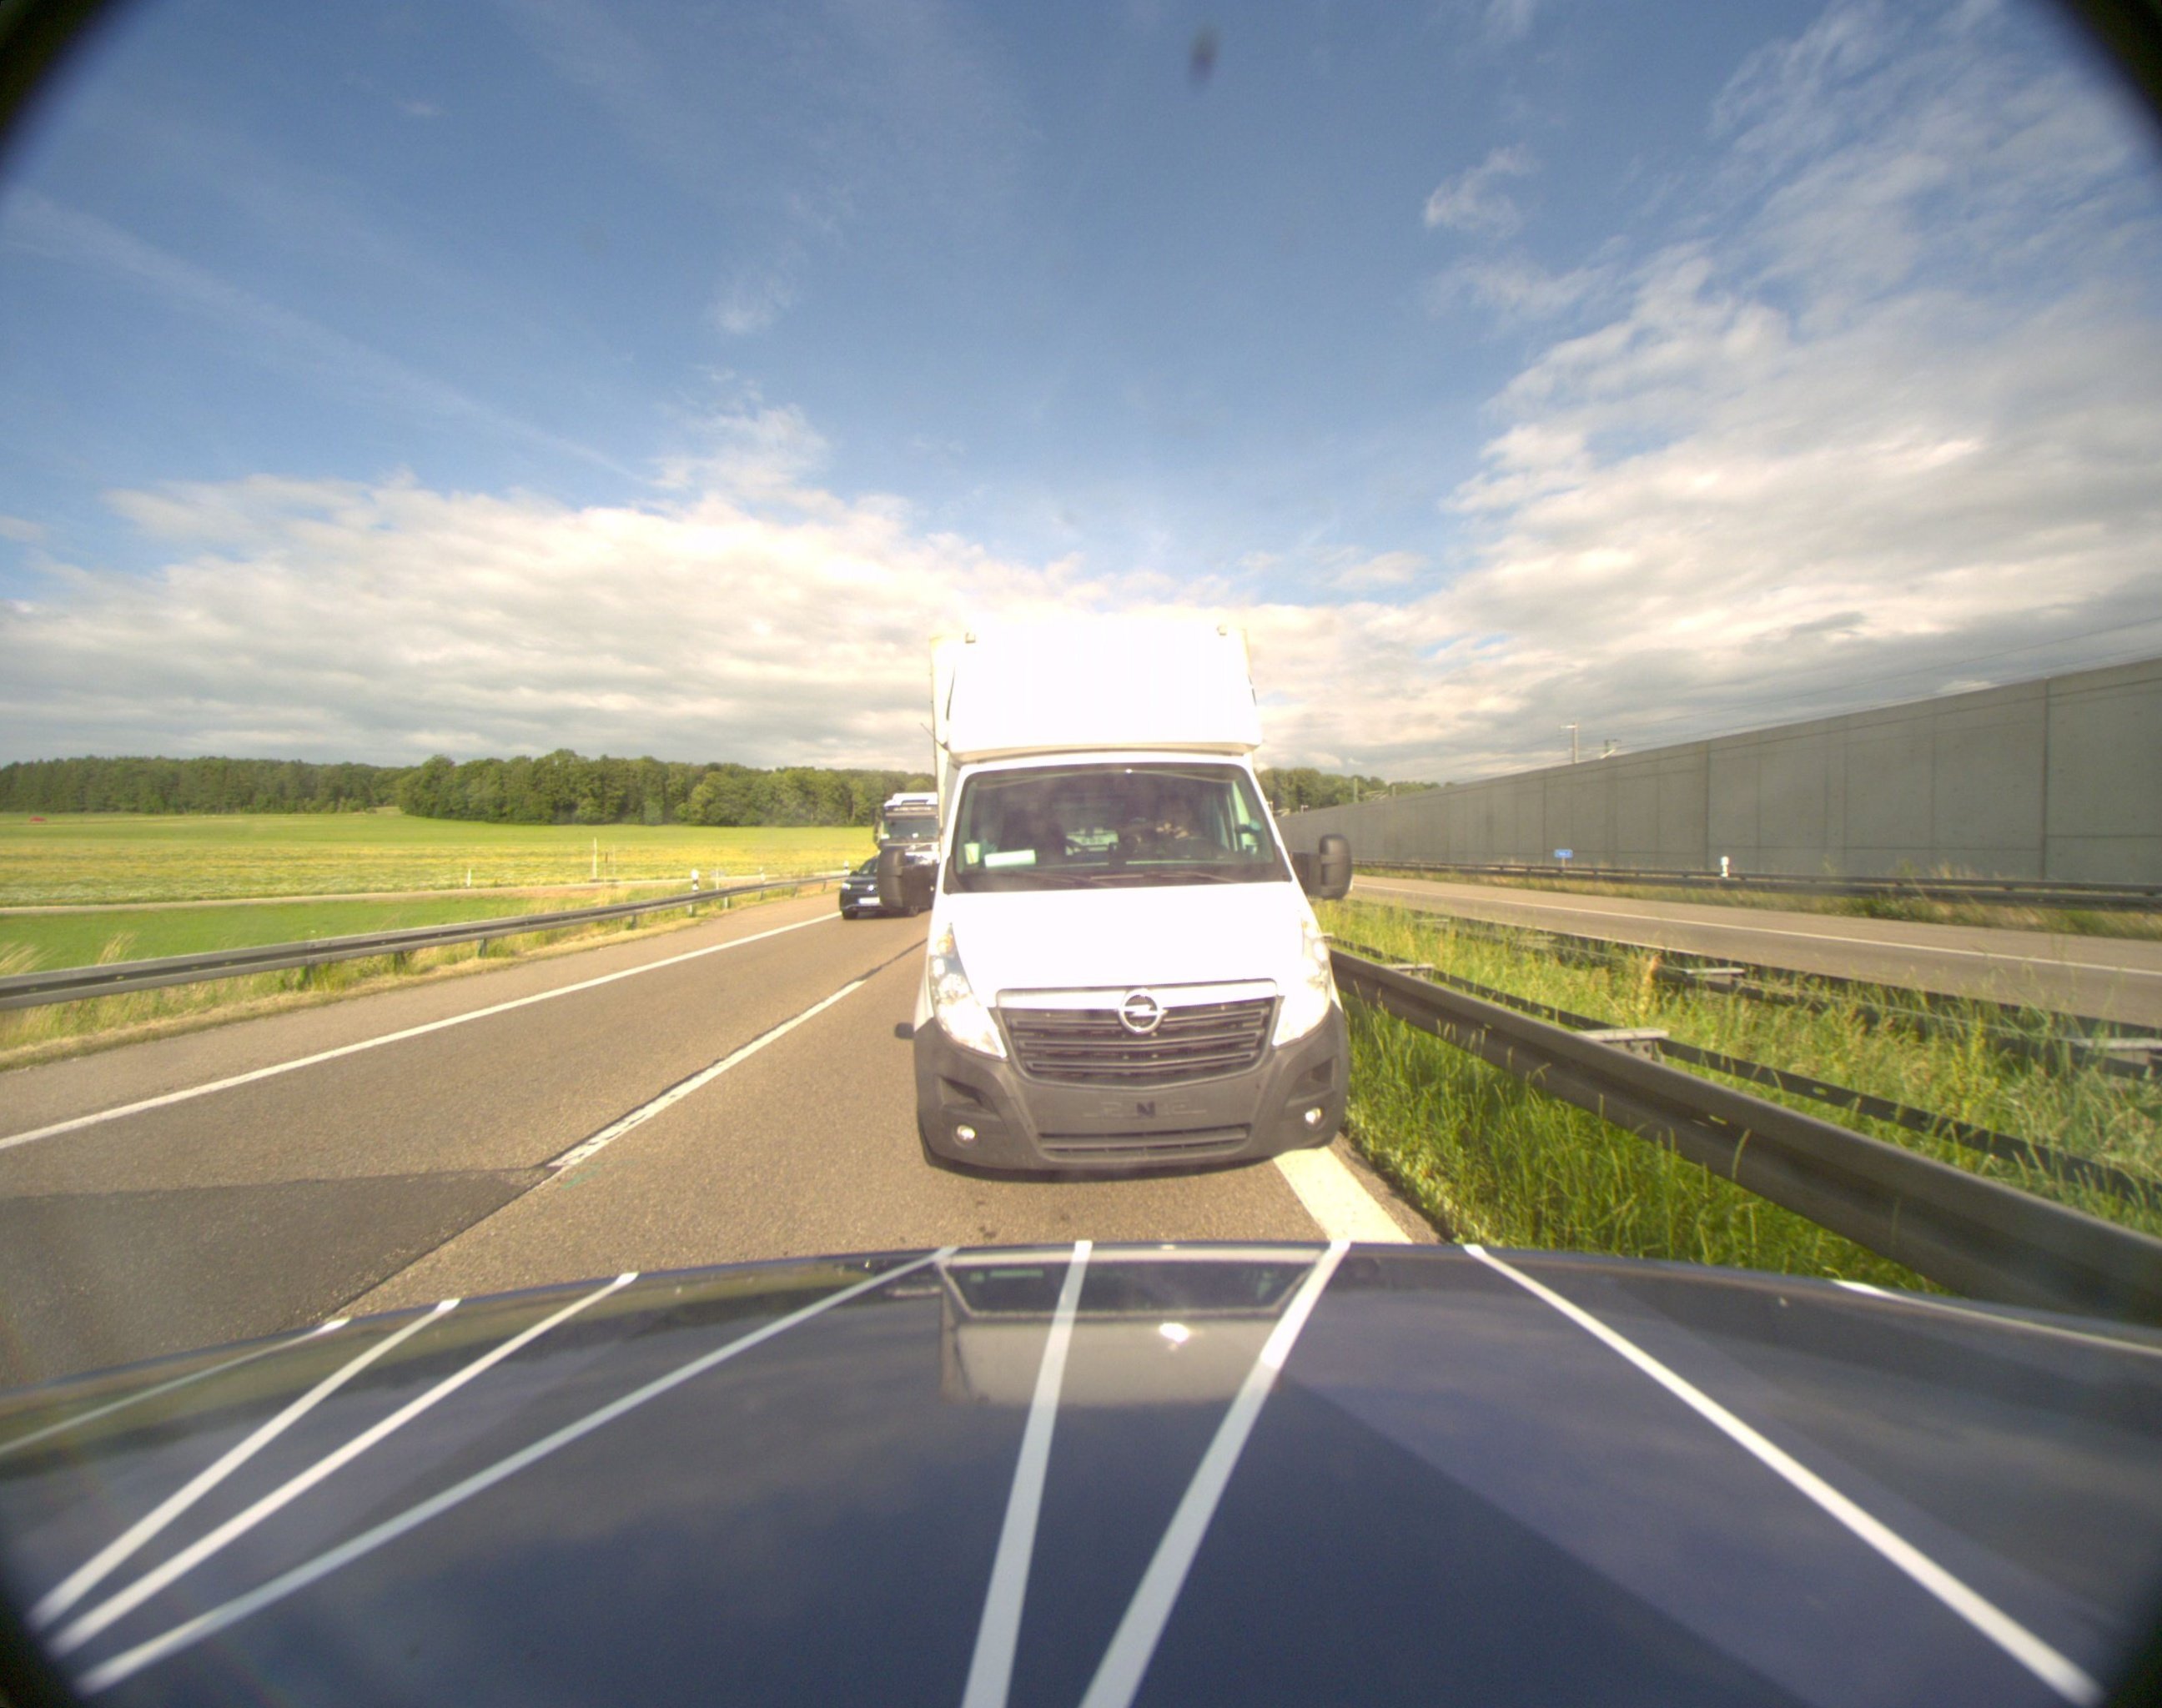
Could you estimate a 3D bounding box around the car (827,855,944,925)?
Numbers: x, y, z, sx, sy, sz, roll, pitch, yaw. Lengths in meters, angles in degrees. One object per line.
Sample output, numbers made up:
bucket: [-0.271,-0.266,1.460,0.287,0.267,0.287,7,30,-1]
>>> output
car: [-5.122,0.885,20.569,1.998,1.587,4.118,-2,1,1]

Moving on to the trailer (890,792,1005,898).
trailer: [-5.691,-0.414,34.990,2.826,3.959,12.127,-2,1,1]

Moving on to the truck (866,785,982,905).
truck: [-5.770,-0.344,29.136,2.842,3.967,6.500,-2,1,1]

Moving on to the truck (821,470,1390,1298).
truck: [0.153,0.088,6.797,2.060,3.088,7.803,-2,1,1]
